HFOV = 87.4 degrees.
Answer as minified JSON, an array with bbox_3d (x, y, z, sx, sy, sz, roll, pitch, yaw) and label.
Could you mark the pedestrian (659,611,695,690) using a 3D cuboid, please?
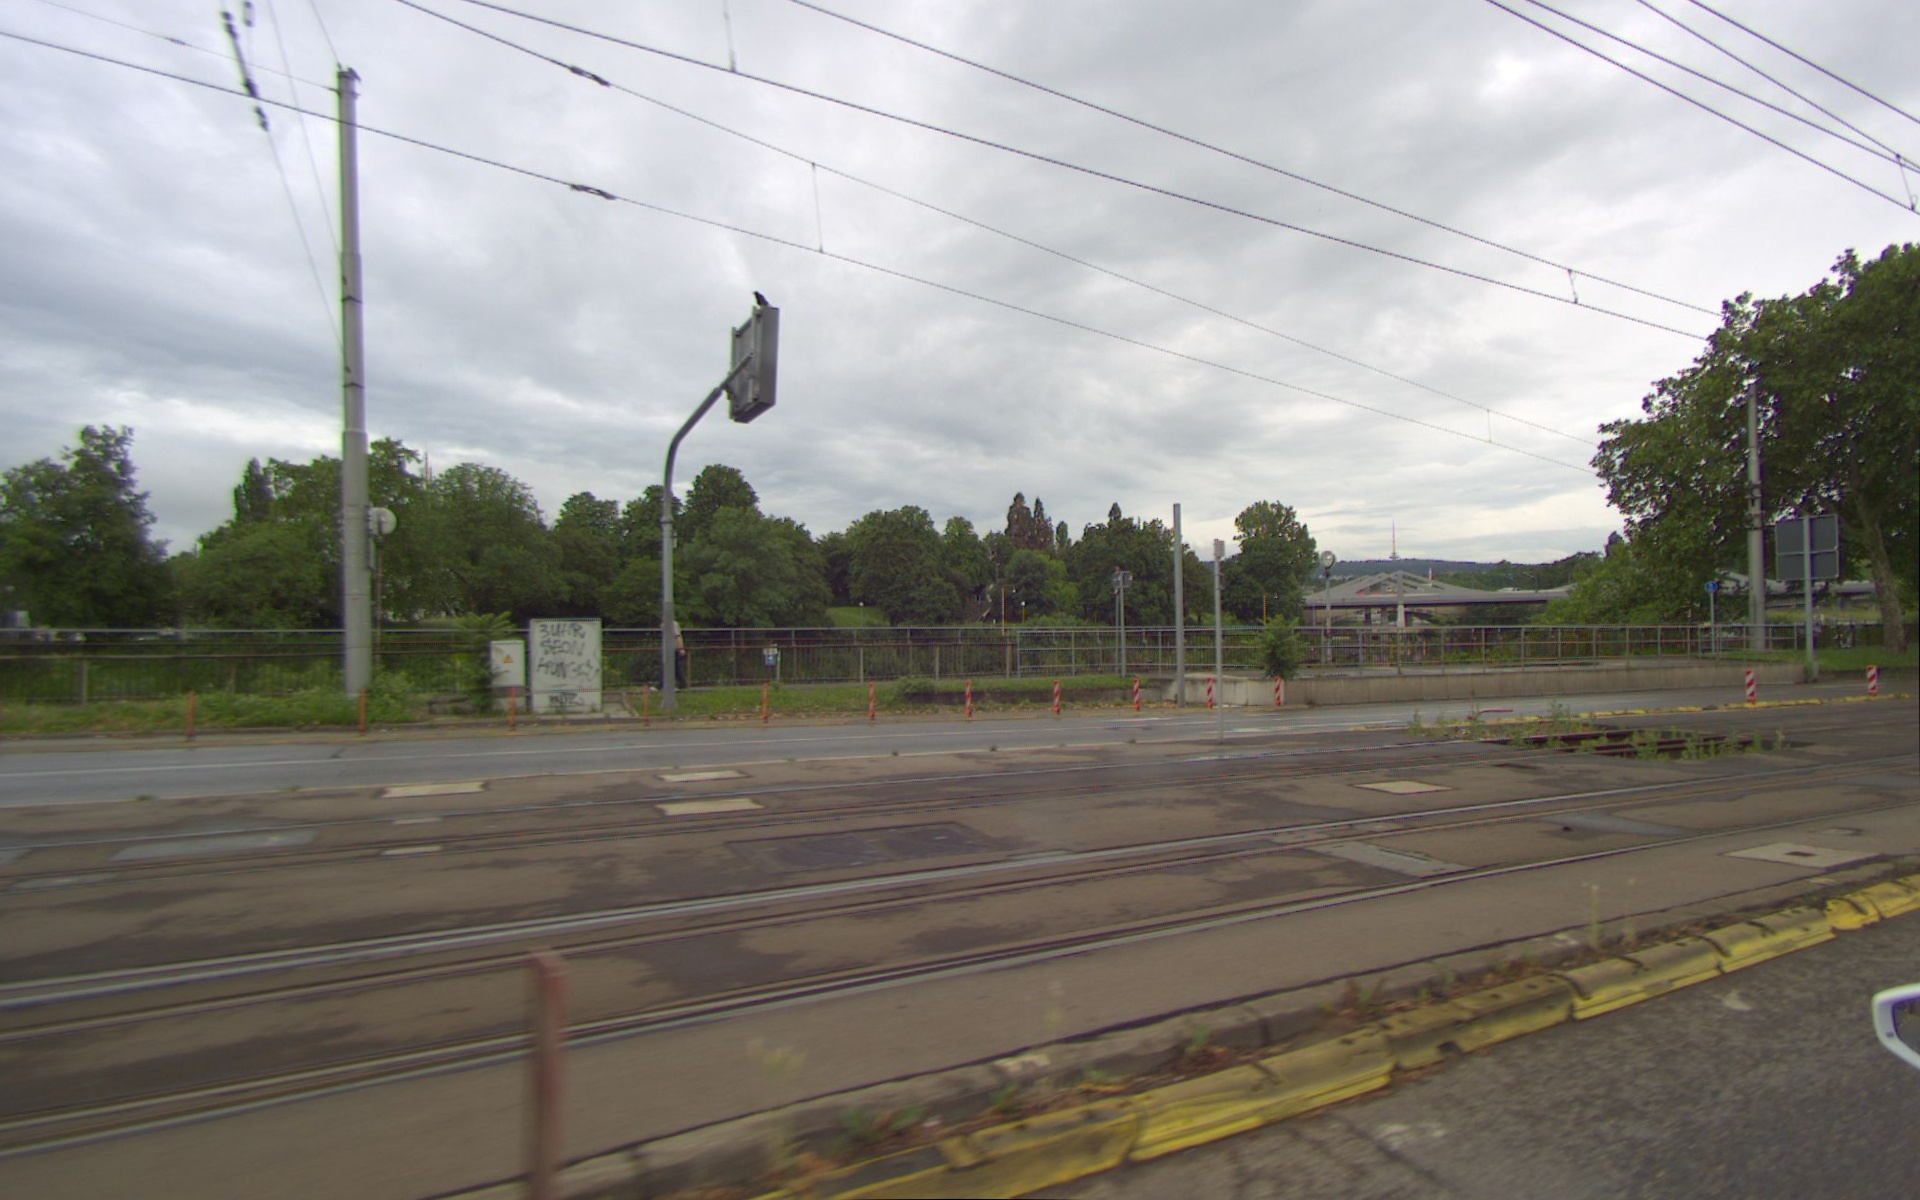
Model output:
[{"bbox_3d":[-6.230,1.106,22.105,0.611,1.710,0.761,1,-2,-29],"label":"pedestrian"}]
